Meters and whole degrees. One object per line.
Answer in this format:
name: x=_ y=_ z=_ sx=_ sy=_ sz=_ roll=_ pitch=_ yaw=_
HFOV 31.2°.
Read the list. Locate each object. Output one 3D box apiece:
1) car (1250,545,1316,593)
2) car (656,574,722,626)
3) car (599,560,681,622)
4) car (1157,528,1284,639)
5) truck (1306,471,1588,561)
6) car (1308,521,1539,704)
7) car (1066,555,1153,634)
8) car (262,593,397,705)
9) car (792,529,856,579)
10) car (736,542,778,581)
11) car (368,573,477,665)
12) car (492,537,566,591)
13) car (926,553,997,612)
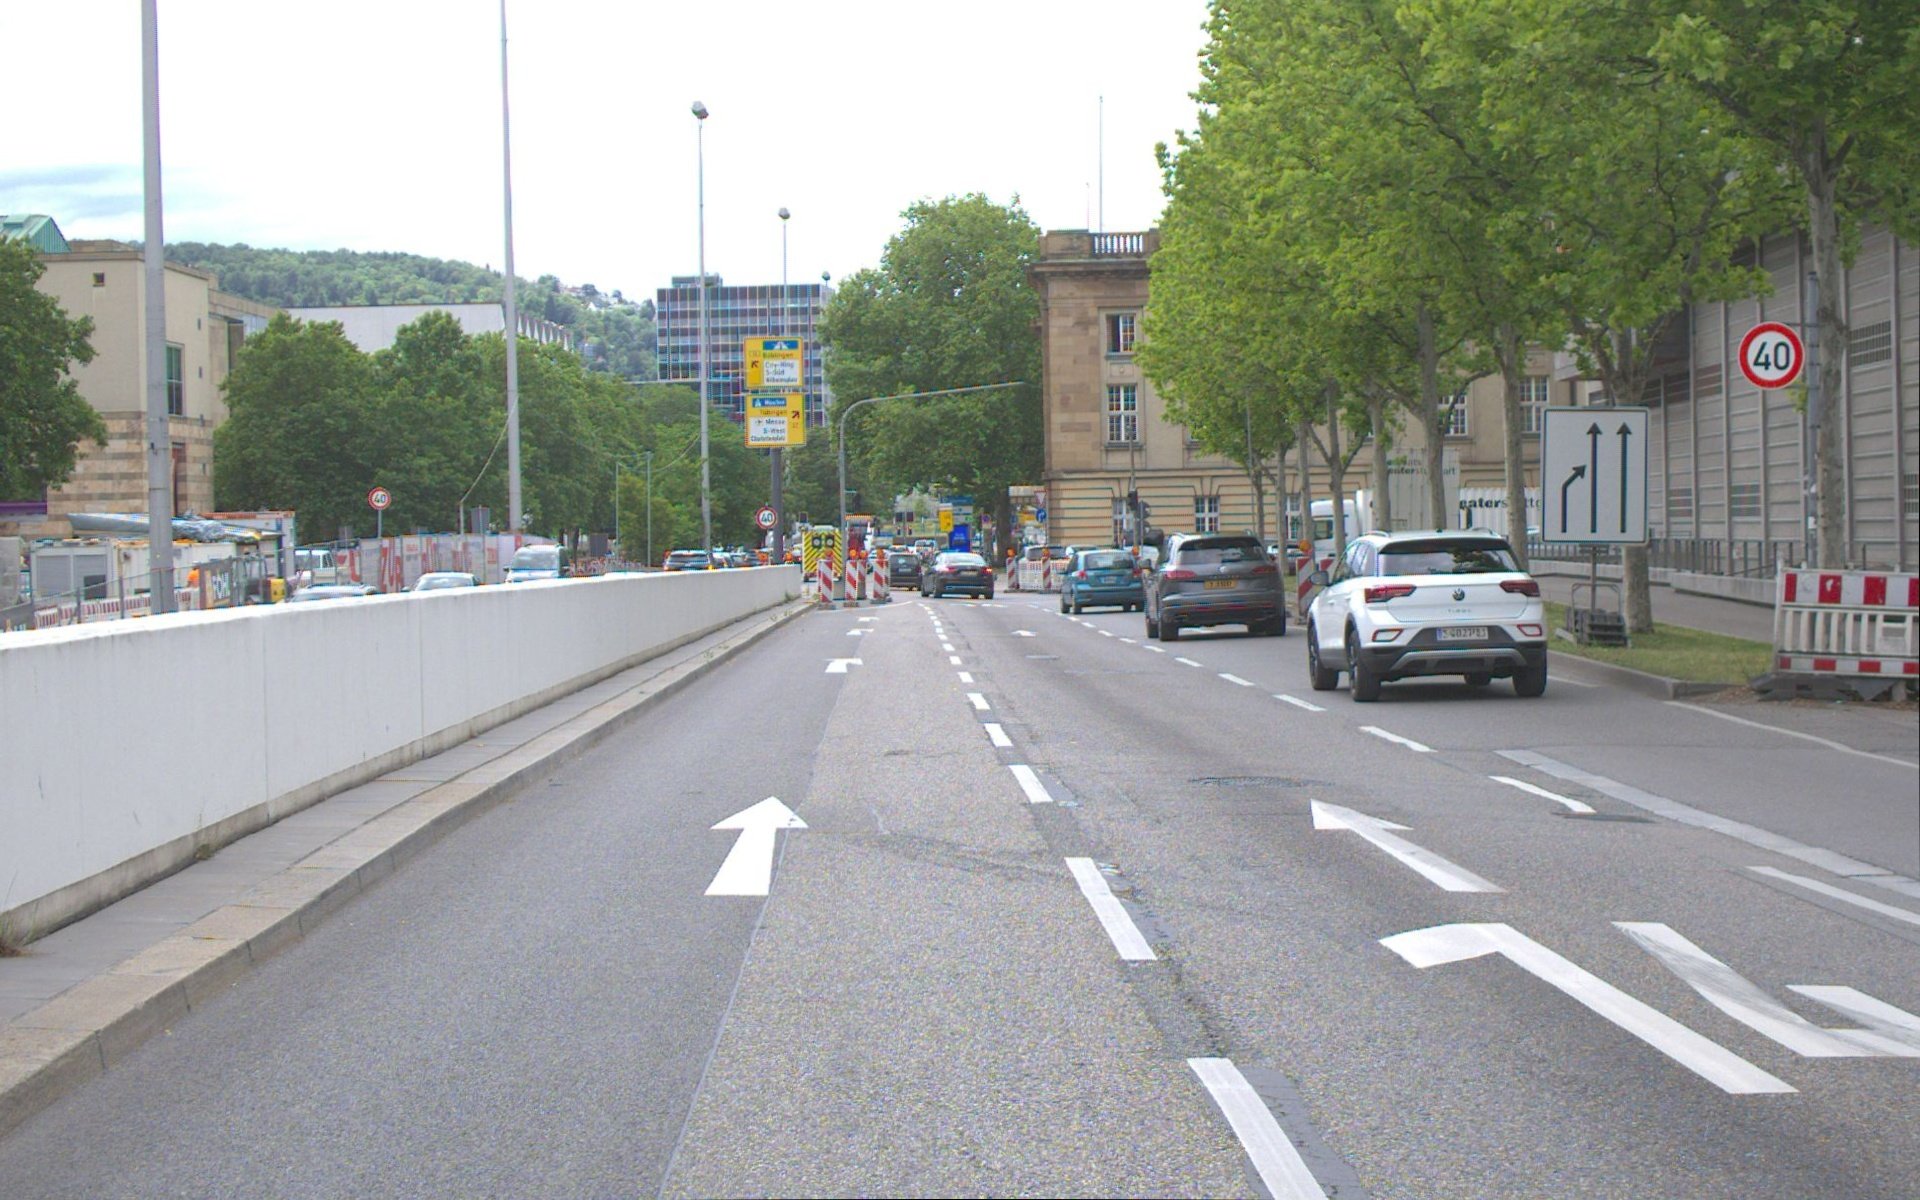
car: x=11.174 y=-1.068 z=119.233 sx=1.856 sy=1.562 sz=4.331 roll=-1 pitch=0 yaw=0
car: x=-8.717 y=-0.012 z=110.646 sx=1.750 sy=1.562 sz=3.377 roll=-3 pitch=0 yaw=1
car: x=-8.123 y=-0.236 z=87.547 sx=1.750 sy=1.562 sz=3.377 roll=0 pitch=0 yaw=1
car: x=4.091 y=-0.292 z=54.525 sx=1.823 sy=1.562 sz=4.479 roll=-4 pitch=1 yaw=3
truck: x=17.975 y=-3.077 z=127.348 sx=10.029 sy=3.040 sz=2.569 roll=-1 pitch=-1 yaw=1
car: x=4.382 y=0.064 z=33.034 sx=1.751 sy=1.562 sz=4.331 roll=-2 pitch=1 yaw=2
car: x=3.483 y=-0.150 z=79.518 sx=1.823 sy=1.735 sz=4.479 roll=-2 pitch=1 yaw=4
car: x=-12.616 y=0.948 z=68.983 sx=1.993 sy=2.006 sz=4.001 roll=-1 pitch=2 yaw=-1
car: x=-6.751 y=-2.291 z=171.515 sx=2.582 sy=2.366 sz=5.526 roll=-2 pitch=1 yaw=4
car: x=-8.631 y=-1.635 z=146.270 sx=1.750 sy=1.562 sz=4.332 roll=-1 pitch=0 yaw=-3
car: x=-12.805 y=0.422 z=82.073 sx=1.993 sy=2.006 sz=4.001 roll=-1 pitch=2 yaw=-1
car: x=-13.474 y=-1.116 z=107.624 sx=1.750 sy=1.562 sz=3.377 roll=-3 pitch=0 yaw=1
car: x=0.069 y=-0.567 z=106.614 sx=1.823 sy=1.735 sz=4.479 roll=-2 pitch=1 yaw=4
